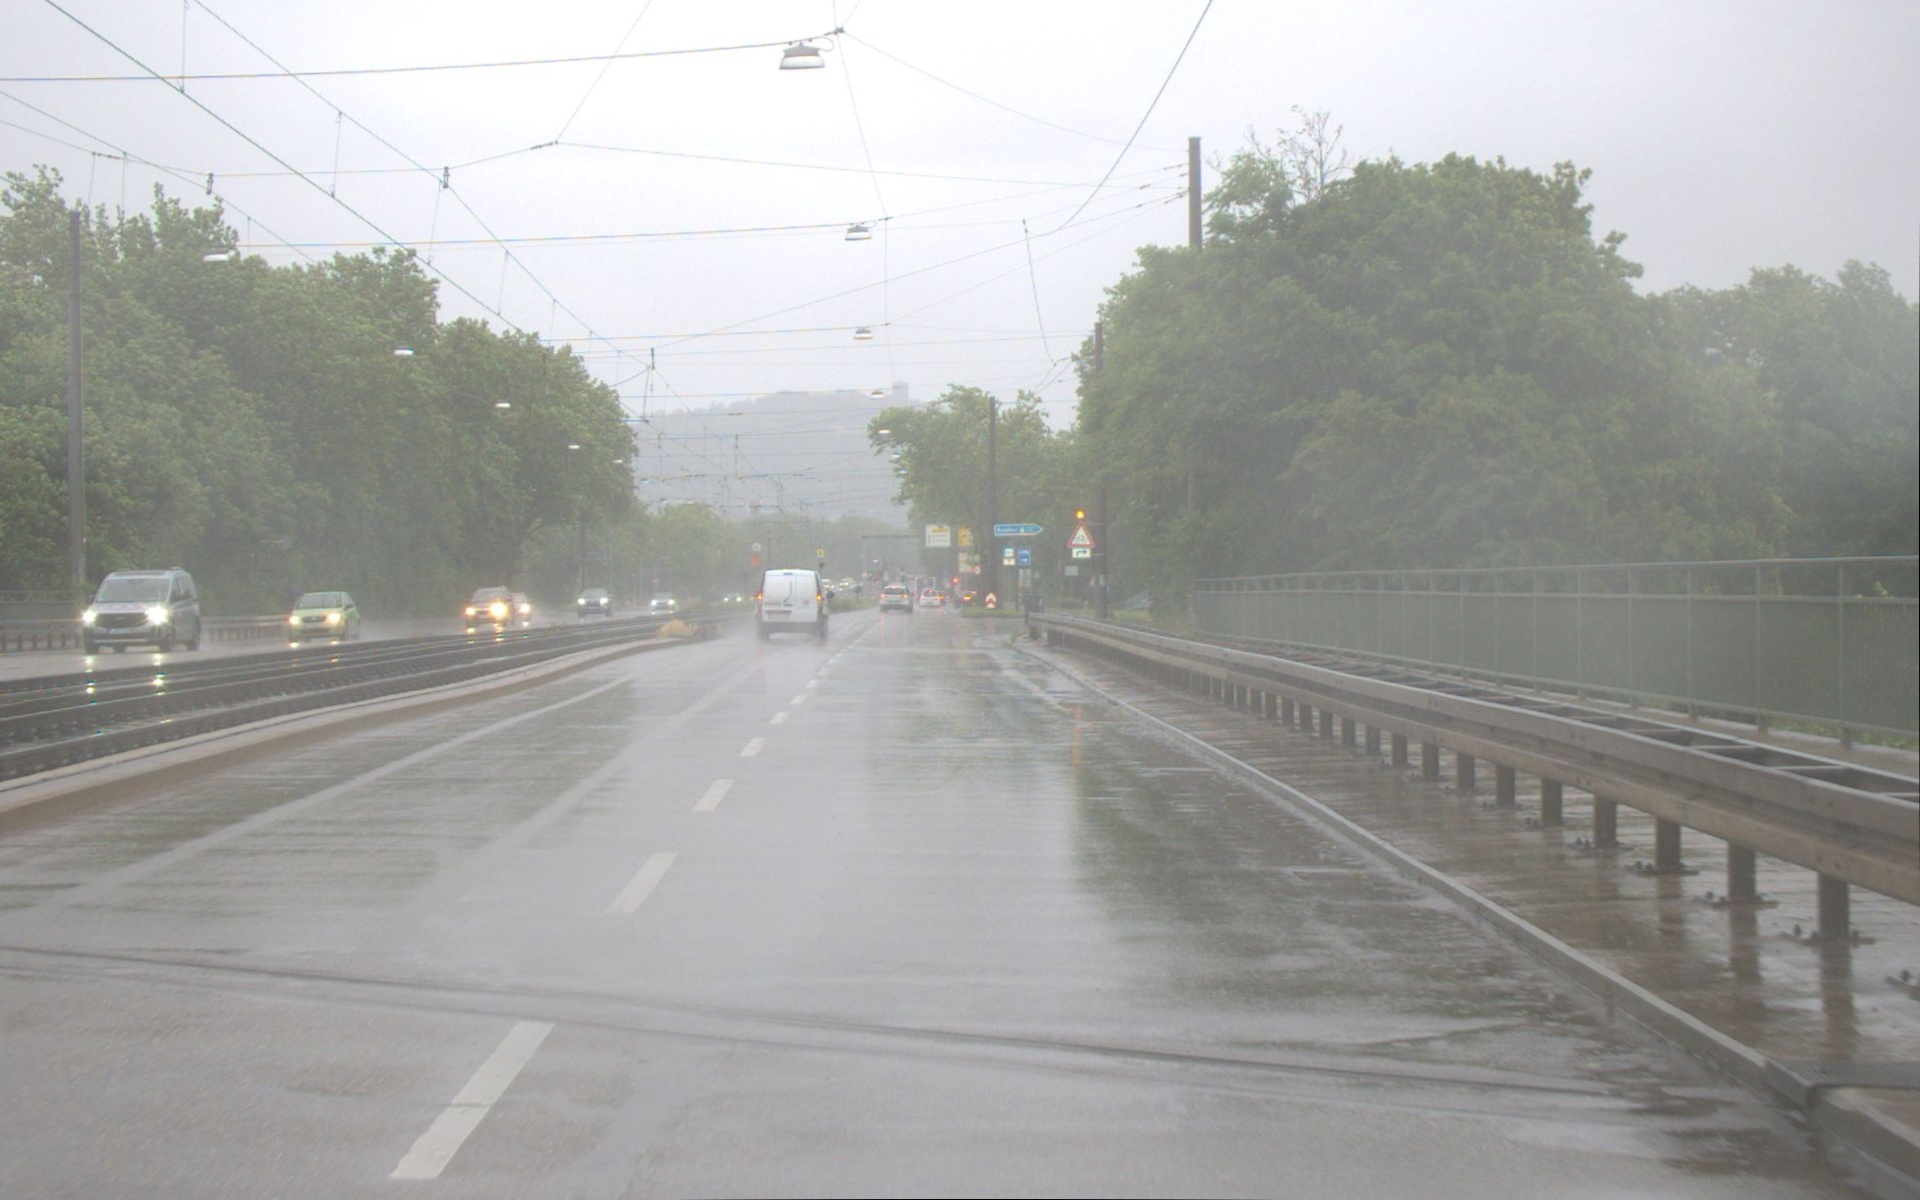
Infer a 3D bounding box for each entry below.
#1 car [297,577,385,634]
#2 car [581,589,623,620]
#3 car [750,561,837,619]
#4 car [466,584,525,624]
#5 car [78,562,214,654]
[{"bbox_3d":[-17.809,0.150,99.005,1.846,1.589,4.000,0,0,-1],"label":"car"},{"bbox_3d":[-20.573,0.238,197.796,1.993,1.667,4.872,3,0,-2],"label":"car"},{"bbox_3d":[-4.268,-0.260,88.741,2.077,1.415,4.000,-1,0,-1],"label":"car"},{"bbox_3d":[-18.535,0.138,137.358,1.841,1.568,4.385,0,0,-1],"label":"car"},{"bbox_3d":[-17.387,0.160,73.617,1.848,1.825,4.394,3,0,-1],"label":"car"}]
